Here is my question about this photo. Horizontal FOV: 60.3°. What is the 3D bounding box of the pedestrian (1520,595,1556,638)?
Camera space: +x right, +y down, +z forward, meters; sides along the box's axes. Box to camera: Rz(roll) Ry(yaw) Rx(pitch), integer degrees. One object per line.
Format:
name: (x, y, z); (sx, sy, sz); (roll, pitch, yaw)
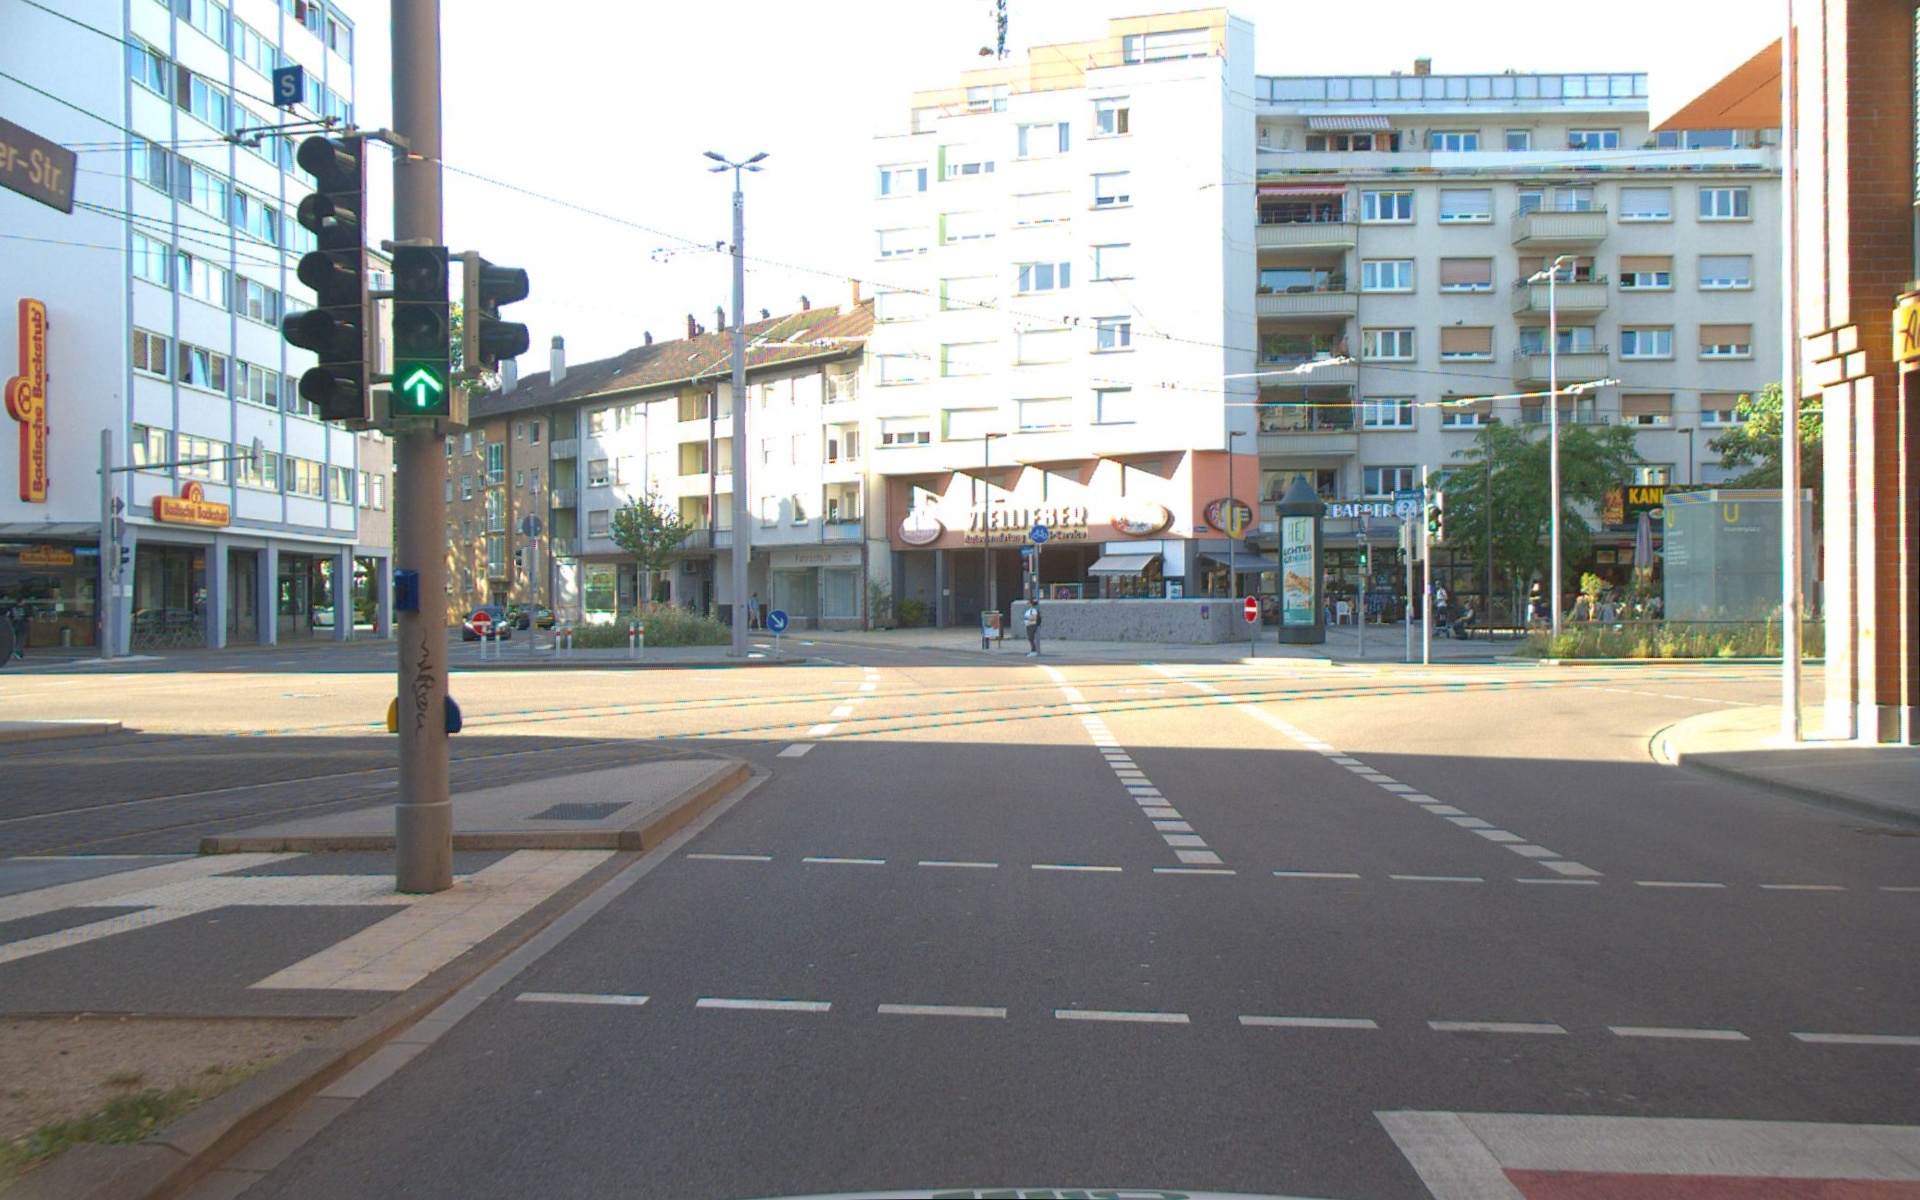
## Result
pedestrian: (18.918, 0.522, 54.127); (0.705, 1.388, 1.107); (0, 0, -7)

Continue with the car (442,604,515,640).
car: (-19.818, 0.887, 68.228); (1.796, 1.410, 4.594); (-1, -1, -2)

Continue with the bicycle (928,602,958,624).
bicycle: (-0.803, 0.606, 77.739); (0.492, 1.057, 1.612); (0, 0, -43)

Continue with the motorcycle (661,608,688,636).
motorcycle: (-12.517, 0.956, 72.533); (0.957, 1.151, 2.794); (1, 0, -14)

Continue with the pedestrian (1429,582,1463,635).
pedestrian: (17.451, 0.301, 59.353); (1.020, 1.899, 0.688); (0, 0, 3)

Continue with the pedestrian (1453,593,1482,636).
pedestrian: (17.243, 0.495, 56.192); (0.705, 1.445, 0.927); (0, 0, 33)

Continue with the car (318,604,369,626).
car: (-44.101, 1.031, 118.307); (2.024, 1.531, 4.027); (-1, 0, -44)

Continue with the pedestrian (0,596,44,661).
pedestrian: (-25.839, 0.778, 45.552); (0.788, 1.754, 0.776); (0, -1, 2)

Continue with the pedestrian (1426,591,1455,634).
pedestrian: (16.584, 0.416, 57.049); (0.706, 1.471, 0.926); (0, 0, 34)

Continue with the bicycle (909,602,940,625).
bicycle: (-1.681, 0.639, 77.468); (0.492, 1.057, 1.612); (0, 0, -43)

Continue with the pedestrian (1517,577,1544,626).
pedestrian: (20.789, 0.048, 60.277); (0.668, 1.776, 0.716); (0, 0, -9)

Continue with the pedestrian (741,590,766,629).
pedestrian: (-10.076, 0.456, 80.821); (0.728, 1.886, 0.933); (-3, 1, -44)

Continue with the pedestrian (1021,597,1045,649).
pedestrian: (2.271, 0.704, 51.321); (0.536, 1.611, 0.549); (0, 0, -42)

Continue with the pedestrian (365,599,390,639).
pedestrian: (-26.163, 0.852, 74.234); (0.763, 1.754, 0.802); (-1, -1, 43)

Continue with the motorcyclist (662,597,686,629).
motorcyclist: (-12.589, 0.564, 72.792); (0.954, 1.371, 1.133); (1, 0, -15)

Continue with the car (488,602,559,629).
car: (-23.215, 0.791, 87.948); (3.932, 1.413, 1.916); (0, 0, 44)
